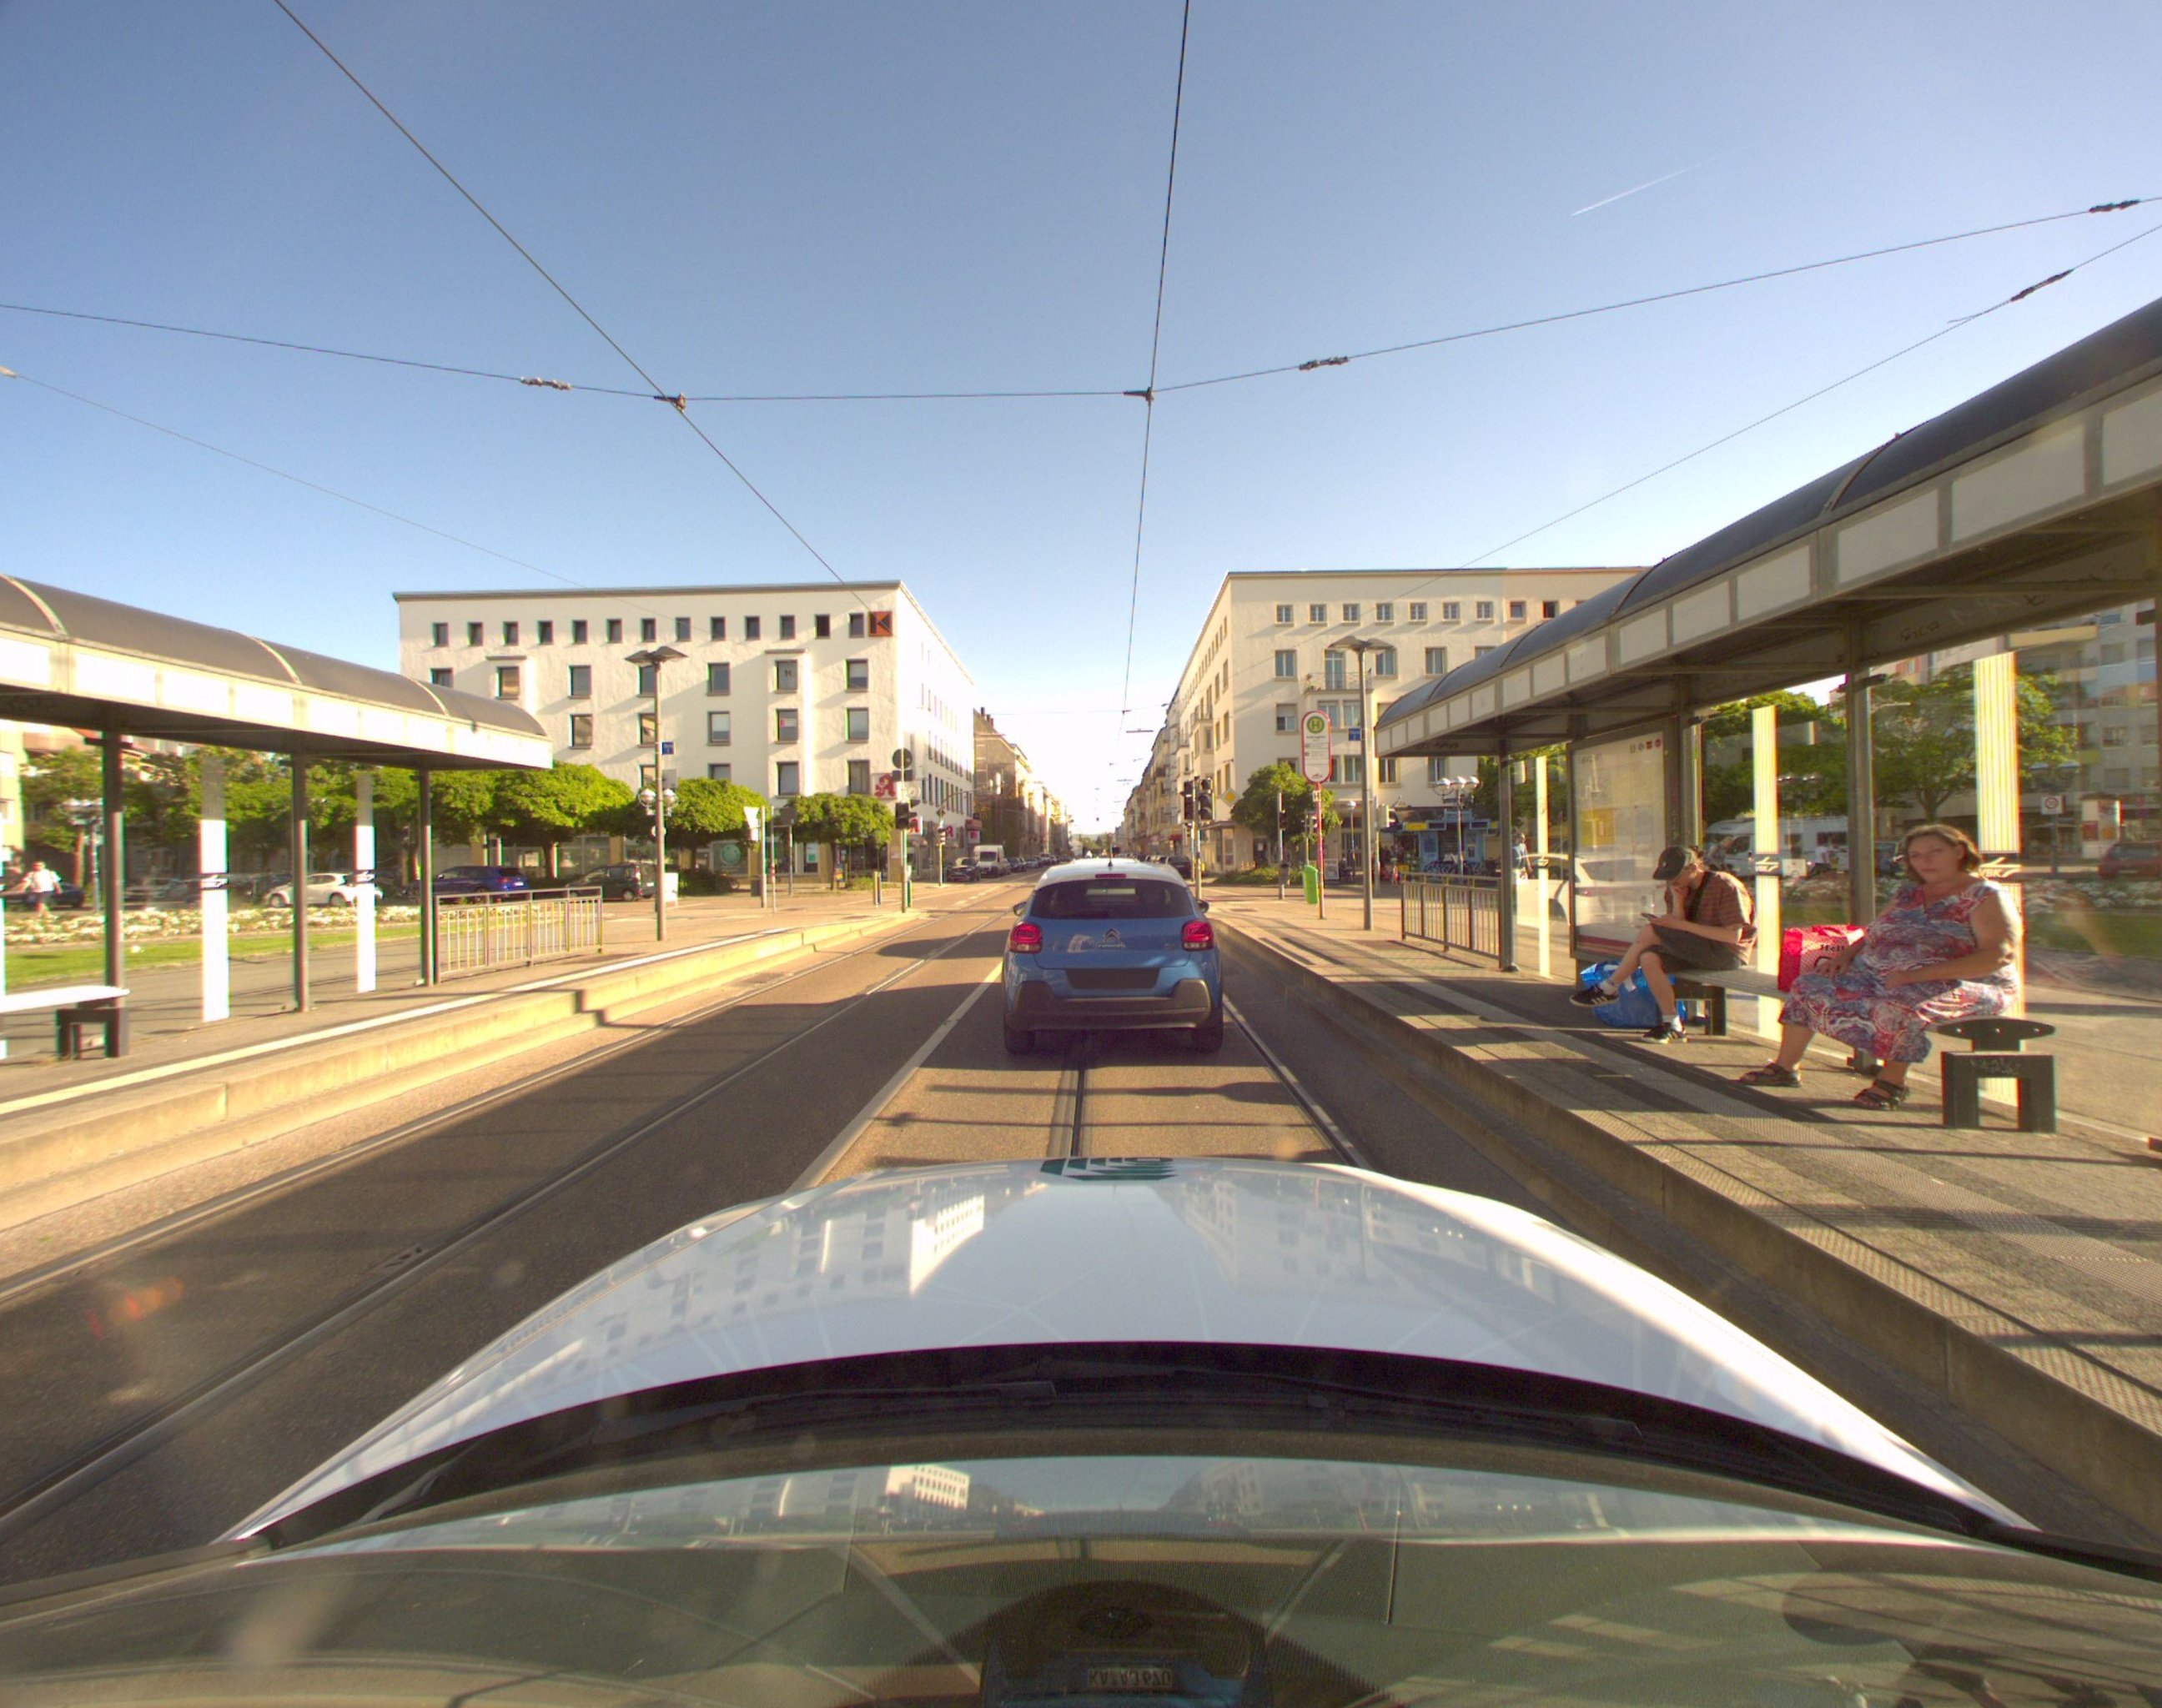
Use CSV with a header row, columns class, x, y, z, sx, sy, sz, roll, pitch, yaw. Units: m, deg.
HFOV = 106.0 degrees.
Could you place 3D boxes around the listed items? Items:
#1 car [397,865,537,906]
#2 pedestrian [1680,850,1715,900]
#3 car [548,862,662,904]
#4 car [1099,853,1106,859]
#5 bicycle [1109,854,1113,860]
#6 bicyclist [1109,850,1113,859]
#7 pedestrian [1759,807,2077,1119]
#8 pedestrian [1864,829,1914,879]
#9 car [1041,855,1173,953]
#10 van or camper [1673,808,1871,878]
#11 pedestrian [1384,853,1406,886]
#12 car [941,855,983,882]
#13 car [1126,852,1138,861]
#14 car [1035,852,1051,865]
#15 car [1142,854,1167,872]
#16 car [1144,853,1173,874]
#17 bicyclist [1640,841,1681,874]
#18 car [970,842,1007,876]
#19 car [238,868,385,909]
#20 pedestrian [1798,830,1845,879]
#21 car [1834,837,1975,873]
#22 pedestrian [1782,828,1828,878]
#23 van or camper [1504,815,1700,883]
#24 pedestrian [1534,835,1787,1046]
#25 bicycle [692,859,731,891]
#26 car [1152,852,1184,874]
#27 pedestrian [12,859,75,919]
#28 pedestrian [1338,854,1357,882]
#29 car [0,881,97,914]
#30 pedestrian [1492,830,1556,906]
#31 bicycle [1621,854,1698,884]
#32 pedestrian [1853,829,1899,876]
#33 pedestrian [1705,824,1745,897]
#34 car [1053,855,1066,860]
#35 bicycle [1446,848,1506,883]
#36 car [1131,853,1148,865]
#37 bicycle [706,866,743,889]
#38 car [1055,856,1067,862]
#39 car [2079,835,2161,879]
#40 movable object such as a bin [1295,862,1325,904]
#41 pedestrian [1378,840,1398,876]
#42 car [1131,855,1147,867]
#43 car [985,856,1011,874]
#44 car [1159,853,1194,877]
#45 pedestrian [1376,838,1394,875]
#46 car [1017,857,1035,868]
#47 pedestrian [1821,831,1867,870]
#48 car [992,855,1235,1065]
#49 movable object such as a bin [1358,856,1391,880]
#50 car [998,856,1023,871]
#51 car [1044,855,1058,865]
class,x,y,z,sx,sy,sz,roll,pitch,yaw
car,-27.183,1.380,36.168,4.591,1.662,1.999,-1,0,-1
pedestrian,14.820,0.506,19.596,0.466,1.169,0.559,0,-1,10
car,-21.242,1.271,36.427,3.973,1.706,1.826,-1,0,1
car,5.892,0.536,223.033,1.986,1.772,4.002,-1,0,2
bicycle,6.491,0.681,176.604,0.916,1.389,3.133,-1,0,2
bicyclist,6.472,0.111,176.469,0.807,2.014,0.922,0,-1,-1
pedestrian,3.914,0.476,3.867,0.856,1.334,0.623,2,-1,1
pedestrian,26.096,-0.007,26.309,0.897,1.585,0.663,-1,0,5
car,0.460,0.758,14.614,1.977,1.464,4.817,0,0,2
van or camper,30.125,-0.468,35.704,6.375,2.839,2.381,-1,0,5
pedestrian,14.006,0.687,36.373,0.727,1.409,0.755,-1,3,2
car,-7.652,0.919,52.753,1.987,1.569,4.403,2,-1,1
car,8.329,0.452,133.199,1.986,1.464,4.002,-1,0,2
car,-5.881,0.716,127.014,1.997,2.014,4.694,0,-1,4
car,6.574,0.793,73.176,1.986,1.464,4.002,-1,0,2
car,5.936,0.693,62.896,1.986,1.501,4.002,-1,0,2
bicyclist,22.030,0.117,30.963,0.925,1.225,0.956,1,0,8
car,-7.120,0.371,63.113,2.078,2.542,6.206,0,0,1
car,-33.512,1.475,35.563,4.591,1.606,1.855,-1,0,-1
pedestrian,24.213,0.016,26.626,0.897,1.585,0.663,-1,0,5
car,36.669,0.066,36.383,3.959,1.511,2.007,0,-1,13
pedestrian,24.613,-0.031,27.708,0.897,1.685,0.696,-1,0,5
van or camper,22.859,-0.227,35.983,7.093,2.747,2.372,-1,1,2
pedestrian,3.723,0.519,5.333,0.995,1.225,0.923,2,-1,1
bicycle,-19.828,1.107,43.744,0.614,1.607,2.625,-1,0,6
car,6.095,0.590,57.447,1.986,1.464,4.002,-1,0,2
pedestrian,-32.541,1.084,25.548,0.938,1.817,0.872,-1,0,13
pedestrian,12.736,0.647,38.906,0.733,1.316,0.631,-1,0,25
car,-52.351,2.151,41.033,1.925,1.494,4.314,0,-1,-27
pedestrian,11.290,0.353,20.795,0.978,1.878,1.128,-1,-1,-1
bicycle,21.972,0.561,30.973,2.302,1.061,0.722,1,0,8
pedestrian,27.390,-0.044,28.069,0.897,1.585,0.663,-1,0,5
pedestrian,15.620,0.163,19.765,0.554,1.745,0.528,0,-1,12
car,-4.858,0.786,185.204,1.981,1.156,4.528,-1,0,11
bicycle,17.722,0.519,36.573,2.376,1.531,0.726,1,0,0
car,7.275,0.634,102.020,1.986,1.464,4.507,-1,0,2
bicycle,-19.105,1.246,43.702,0.615,1.190,2.624,-1,0,5
car,-3.849,0.901,154.490,1.986,1.156,4.002,-1,0,2
car,38.588,0.062,29.046,3.983,1.486,1.995,-1,0,-7
movable object such as a bin,4.352,0.544,15.507,0.447,0.786,0.489,-1,0,4
pedestrian,15.932,0.186,42.219,0.781,1.839,0.679,-1,0,5
car,7.568,0.888,106.480,1.985,1.464,4.003,-1,0,3
car,-7.102,0.960,70.071,1.881,1.496,3.562,0,-1,1
car,6.122,0.698,52.416,1.902,1.464,4.002,-1,0,2
pedestrian,15.411,0.117,41.254,0.650,1.839,0.660,-1,0,5
car,-6.922,1.051,103.532,1.987,1.325,3.923,0,-1,1
pedestrian,25.174,-0.114,26.882,0.897,1.279,0.605,-1,0,5
car,0.285,0.760,7.696,1.721,1.482,3.828,0,0,2
movable object such as a bin,14.414,0.682,40.046,1.194,1.153,1.218,-1,0,2
car,-6.753,0.898,78.479,1.987,1.398,4.157,0,-1,1
car,-5.072,1.014,137.428,1.946,1.552,3.942,0,-1,4
